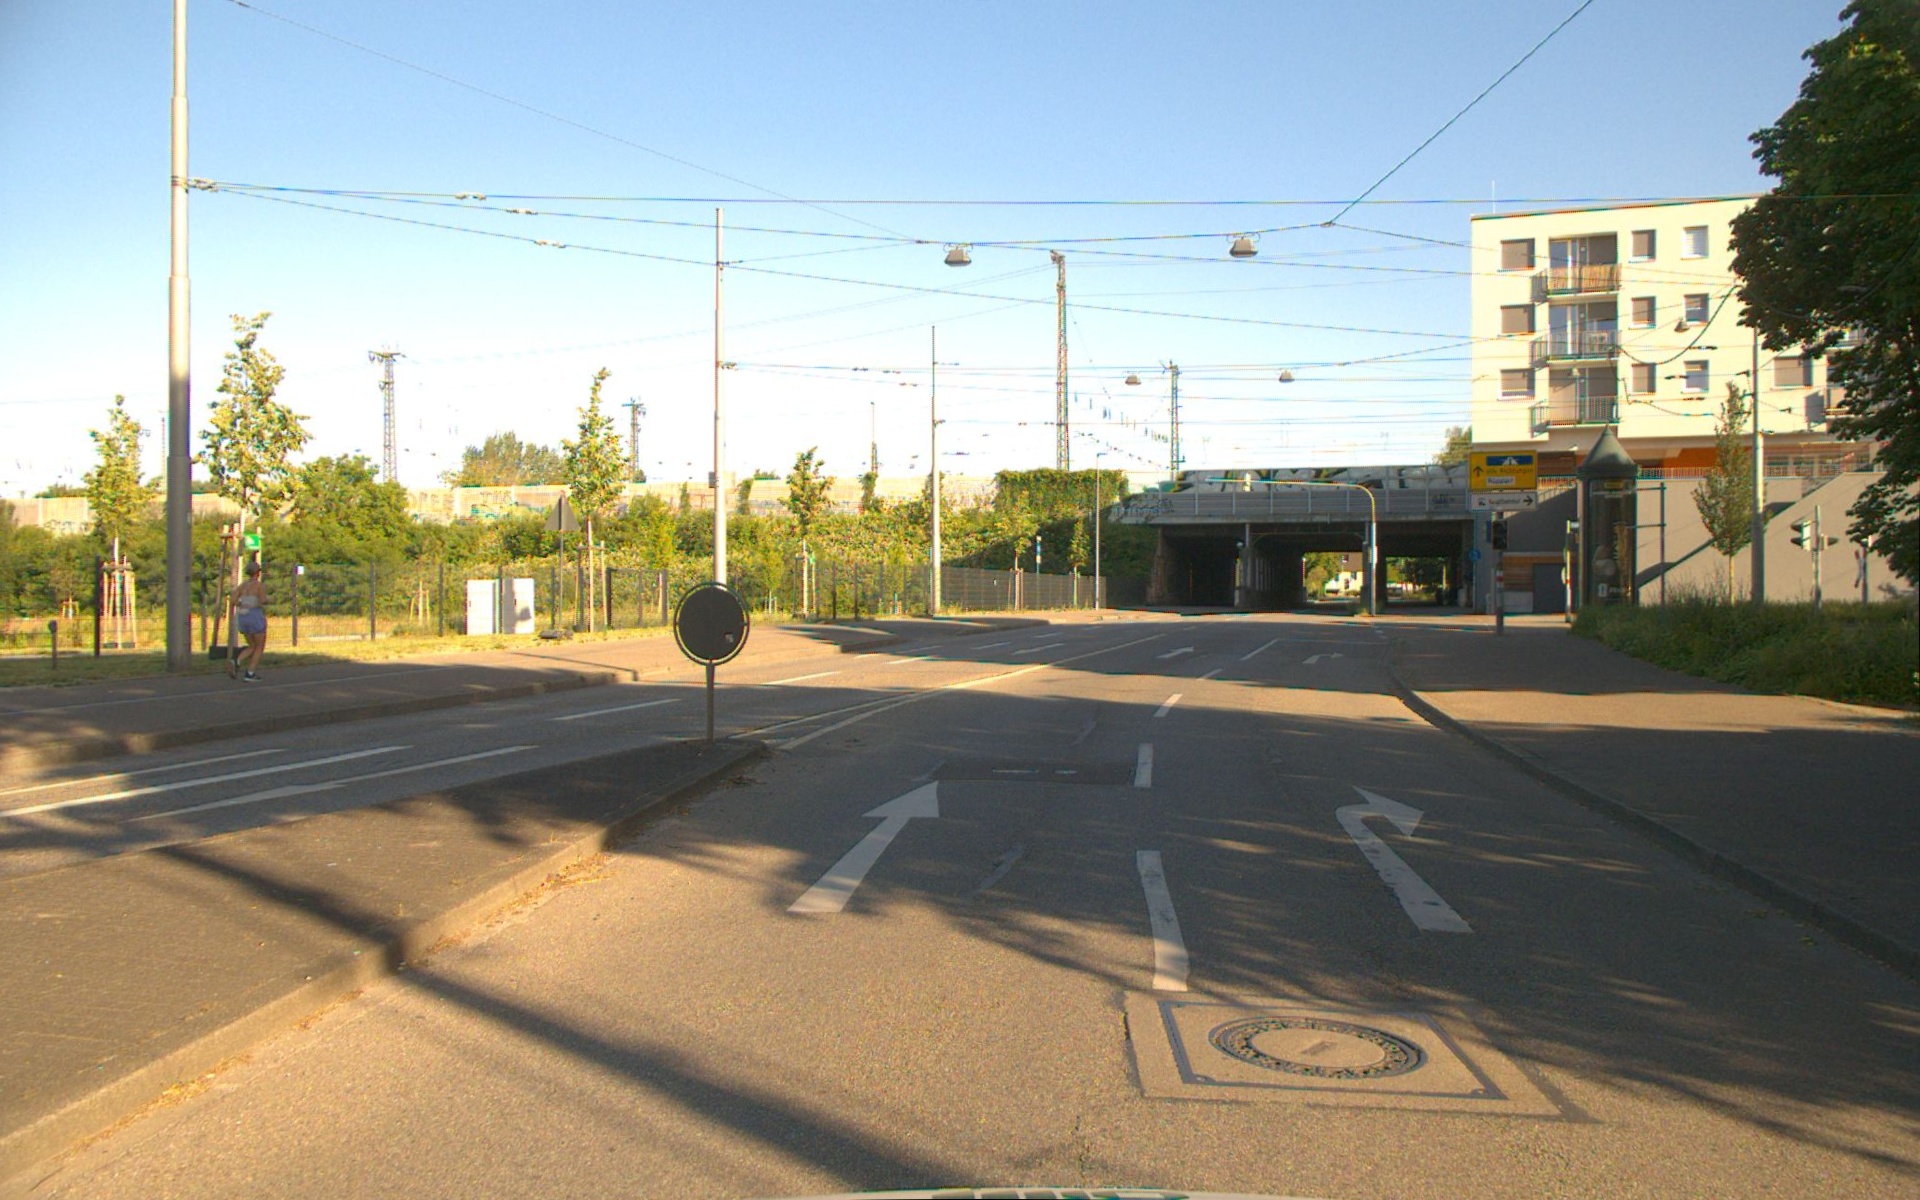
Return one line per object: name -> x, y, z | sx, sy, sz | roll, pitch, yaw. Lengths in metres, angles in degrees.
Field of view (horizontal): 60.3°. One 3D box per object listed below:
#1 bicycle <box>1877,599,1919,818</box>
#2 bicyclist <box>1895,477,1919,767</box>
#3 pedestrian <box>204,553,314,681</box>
bicycle -> 5.748, 0.633, 9.154 | 0.703, 1.213, 2.003 | -1, 2, 15
bicyclist -> 5.740, 0.125, 9.071 | 0.794, 1.627, 1.150 | -1, 2, 15
pedestrian -> -9.588, 0.209, 22.665 | 0.815, 1.657, 1.182 | 2, 3, 18
